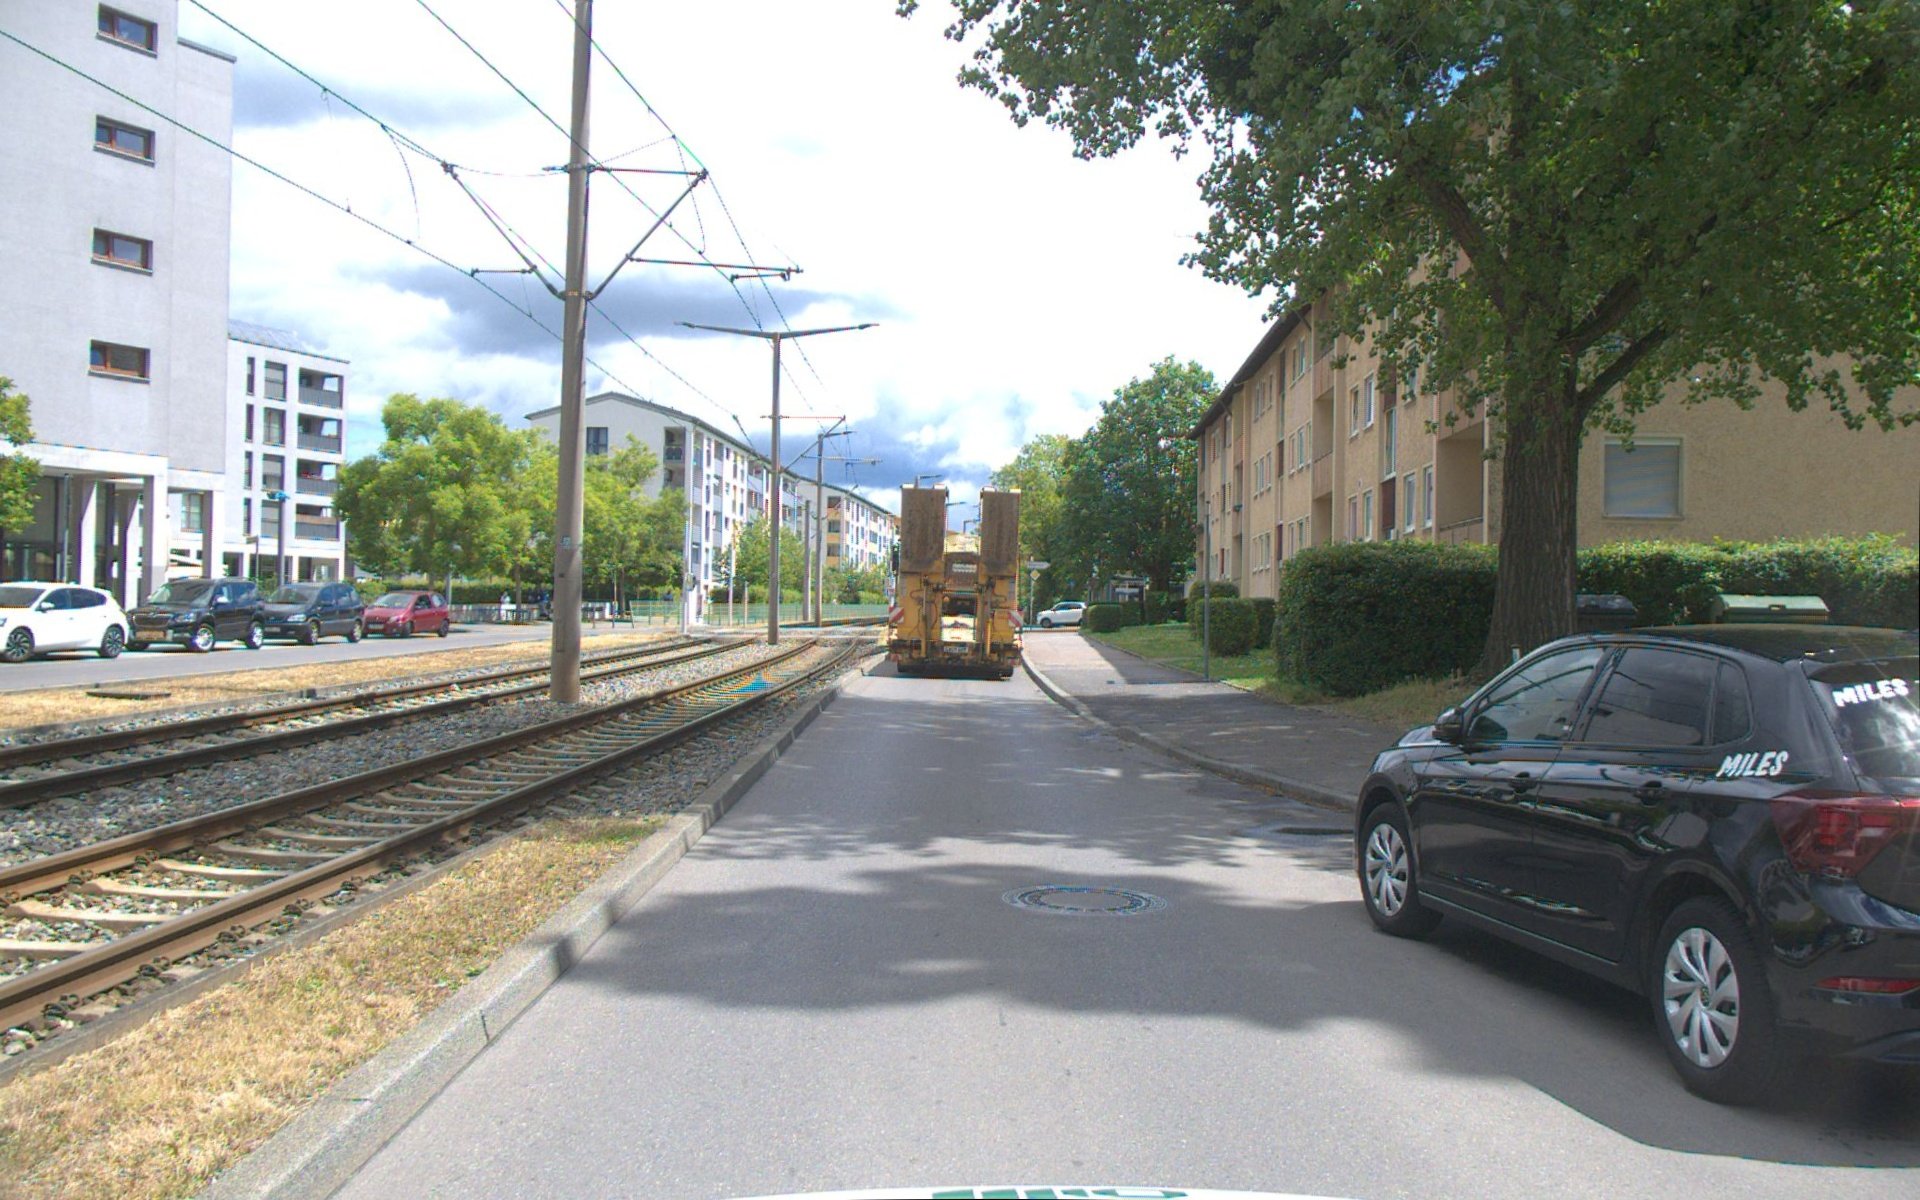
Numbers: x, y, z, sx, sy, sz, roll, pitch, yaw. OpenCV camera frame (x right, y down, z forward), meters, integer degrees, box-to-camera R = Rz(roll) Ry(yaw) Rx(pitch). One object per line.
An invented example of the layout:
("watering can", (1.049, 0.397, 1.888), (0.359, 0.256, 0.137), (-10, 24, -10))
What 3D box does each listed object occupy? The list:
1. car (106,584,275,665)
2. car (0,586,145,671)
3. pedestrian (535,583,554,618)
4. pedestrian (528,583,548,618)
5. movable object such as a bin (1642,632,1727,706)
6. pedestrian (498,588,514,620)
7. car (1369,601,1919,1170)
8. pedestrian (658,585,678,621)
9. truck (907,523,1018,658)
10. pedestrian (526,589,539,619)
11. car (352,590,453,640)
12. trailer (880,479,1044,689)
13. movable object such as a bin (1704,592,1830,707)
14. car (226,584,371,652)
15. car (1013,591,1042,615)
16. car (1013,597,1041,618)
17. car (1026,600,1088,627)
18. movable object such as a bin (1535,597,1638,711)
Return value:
("car", (-17.547, 0.516, 37.939), (1.953, 1.691, 4.100), (1, 1, -1))
("car", (-17.902, 0.495, 31.973), (1.717, 1.501, 4.403), (0, 1, 7))
("pedestrian", (-18.946, 0.018, 75.408), (0.609, 1.600, 0.558), (0, 1, 13))
("pedestrian", (-18.993, 0.019, 74.517), (0.609, 1.600, 0.698), (0, 1, 13))
("movable object such as a bin", (9.626, 0.908, 21.992), (0.786, 0.931, 0.761), (0, 1, -1))
("pedestrian", (-22.674, 0.194, 82.624), (0.533, 1.574, 0.528), (0, 1, 22))
("car", (3.018, 0.778, 6.440), (1.778, 1.474, 3.825), (0, 1, -2))
("pedestrian", (-14.073, 0.133, 79.678), (0.733, 1.690, 0.870), (0, 1, 5))
("truck", (0.039, -0.296, 45.572), (2.776, 3.388, 7.984), (0, 1, -1))
("pedestrian", (-19.045, 0.174, 73.709), (0.492, 1.289, 0.497), (-1, 1, -21))
("car", (-17.078, 0.433, 50.829), (1.579, 1.451, 3.426), (0, 1, 8))
("trailer", (-0.005, -0.380, 36.193), (2.988, 3.838, 11.611), (0, 1, -1))
("movable object such as a bin", (10.688, 0.640, 21.944), (1.145, 1.464, 1.057), (0, 1, -1))
("car", (-17.455, 0.436, 43.872), (1.951, 1.676, 4.102), (0, 1, 4))
("car", (4.698, 0.199, 115.518), (1.952, 1.646, 4.001), (0, 1, 1))
("car", (4.840, 0.543, 120.128), (1.952, 1.411, 4.001), (0, 1, 1))
("car", (5.934, 0.823, 101.150), (3.521, 1.612, 2.001), (0, -1, 14))
("movable object such as a bin", (8.299, 0.706, 21.941), (1.075, 1.464, 0.761), (0, 1, -1))
